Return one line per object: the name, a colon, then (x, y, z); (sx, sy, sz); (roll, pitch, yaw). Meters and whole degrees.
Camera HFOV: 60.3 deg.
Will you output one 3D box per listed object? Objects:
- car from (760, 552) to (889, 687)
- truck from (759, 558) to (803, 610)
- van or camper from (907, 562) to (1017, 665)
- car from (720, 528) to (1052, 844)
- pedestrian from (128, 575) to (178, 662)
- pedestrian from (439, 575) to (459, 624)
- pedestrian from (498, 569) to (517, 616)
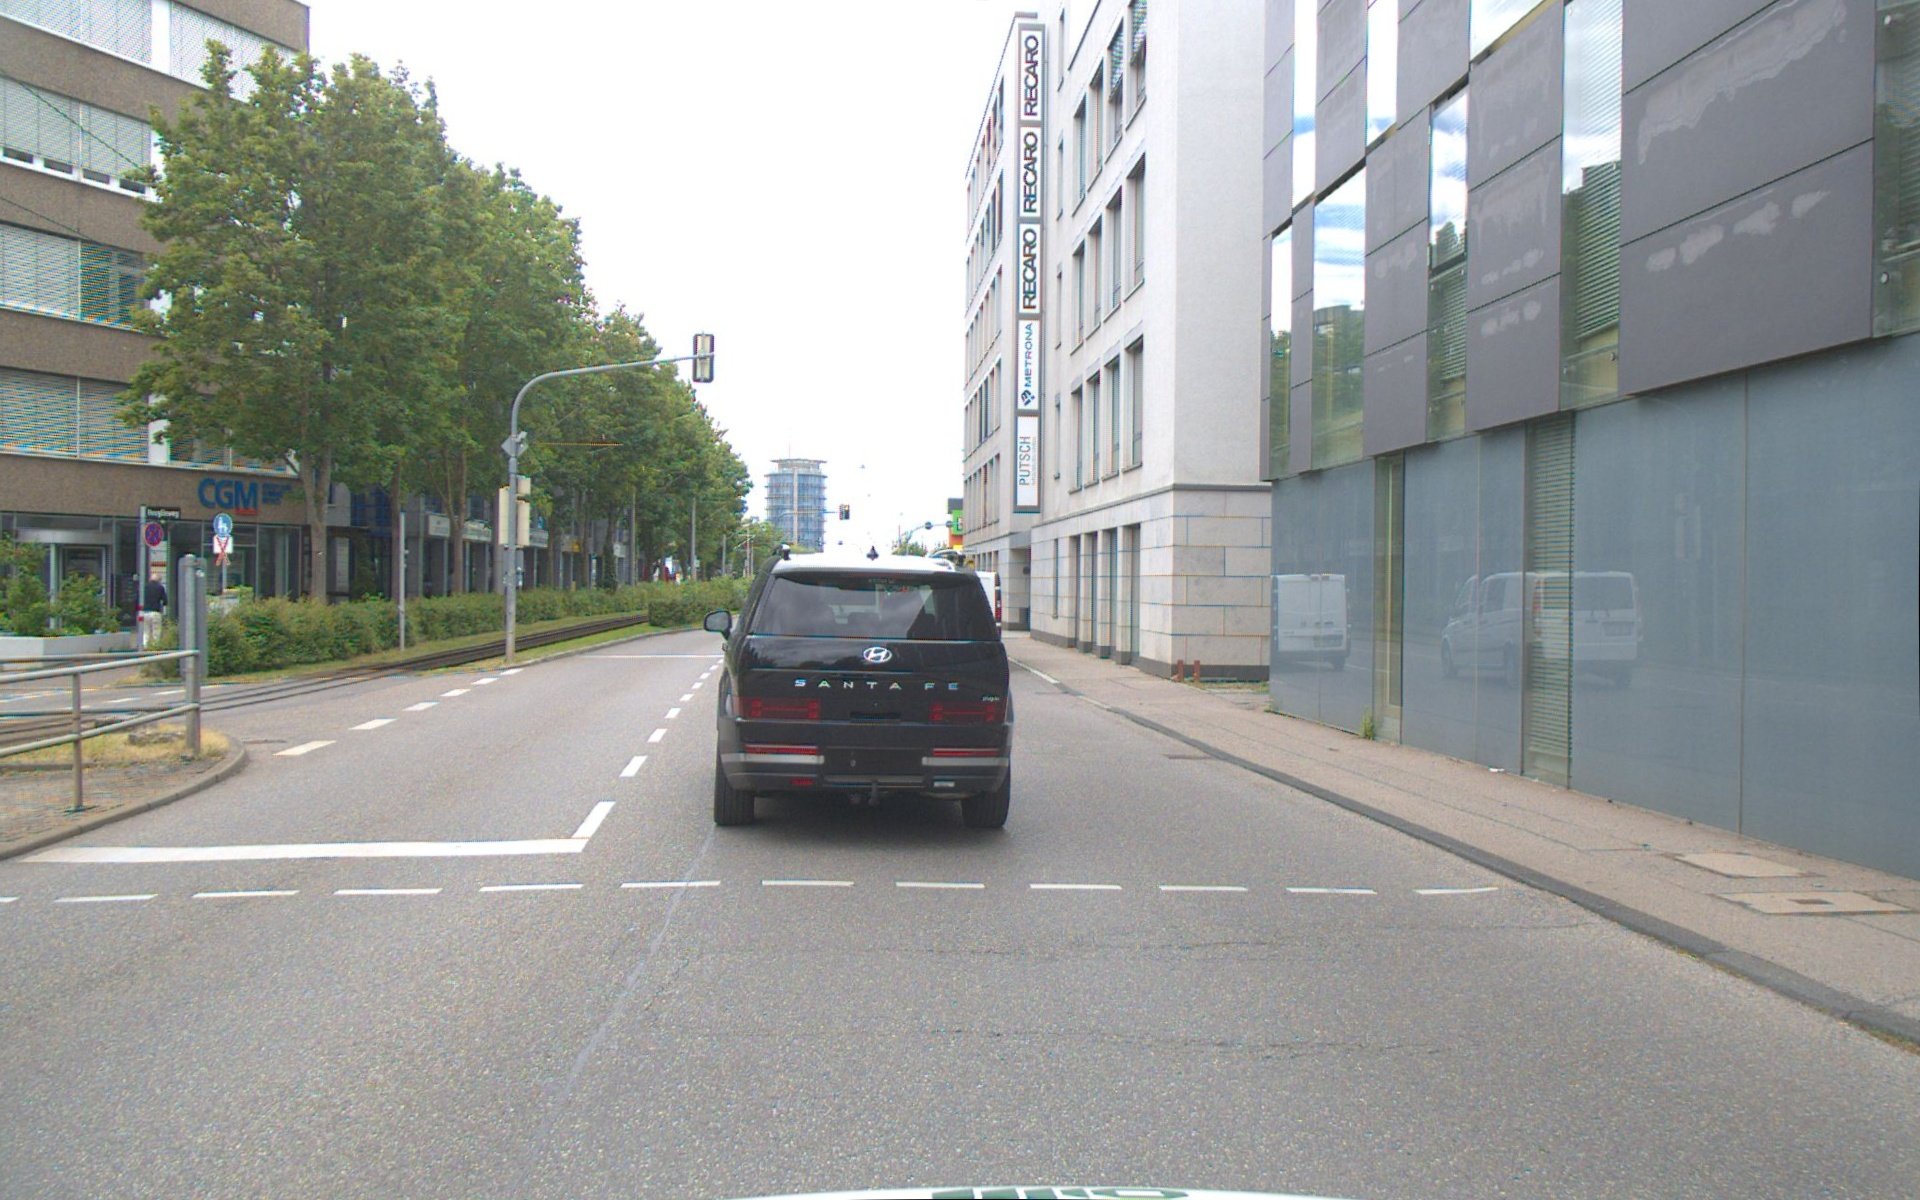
car: (-2.308, 0.271, 27.189); (1.895, 2.029, 4.528); (0, 0, -7)
truck: (-9.423, -0.827, 87.398); (2.123, 2.661, 5.790); (0, 0, -5)
van or camper: (-0.032, 0.247, 34.264); (1.954, 1.949, 4.328); (1, 0, -4)
car: (-0.724, 0.496, 11.644); (1.873, 1.780, 4.388); (1, 0, -8)
pedestrian: (-16.472, 0.370, 33.769); (0.674, 1.735, 0.682); (-1, 0, -2)
pedestrian: (-21.357, -0.034, 69.135); (0.667, 2.049, 0.570); (0, 0, -4)
pedestrian: (-19.227, -0.318, 70.282); (0.662, 1.942, 0.621); (-1, 0, -4)
